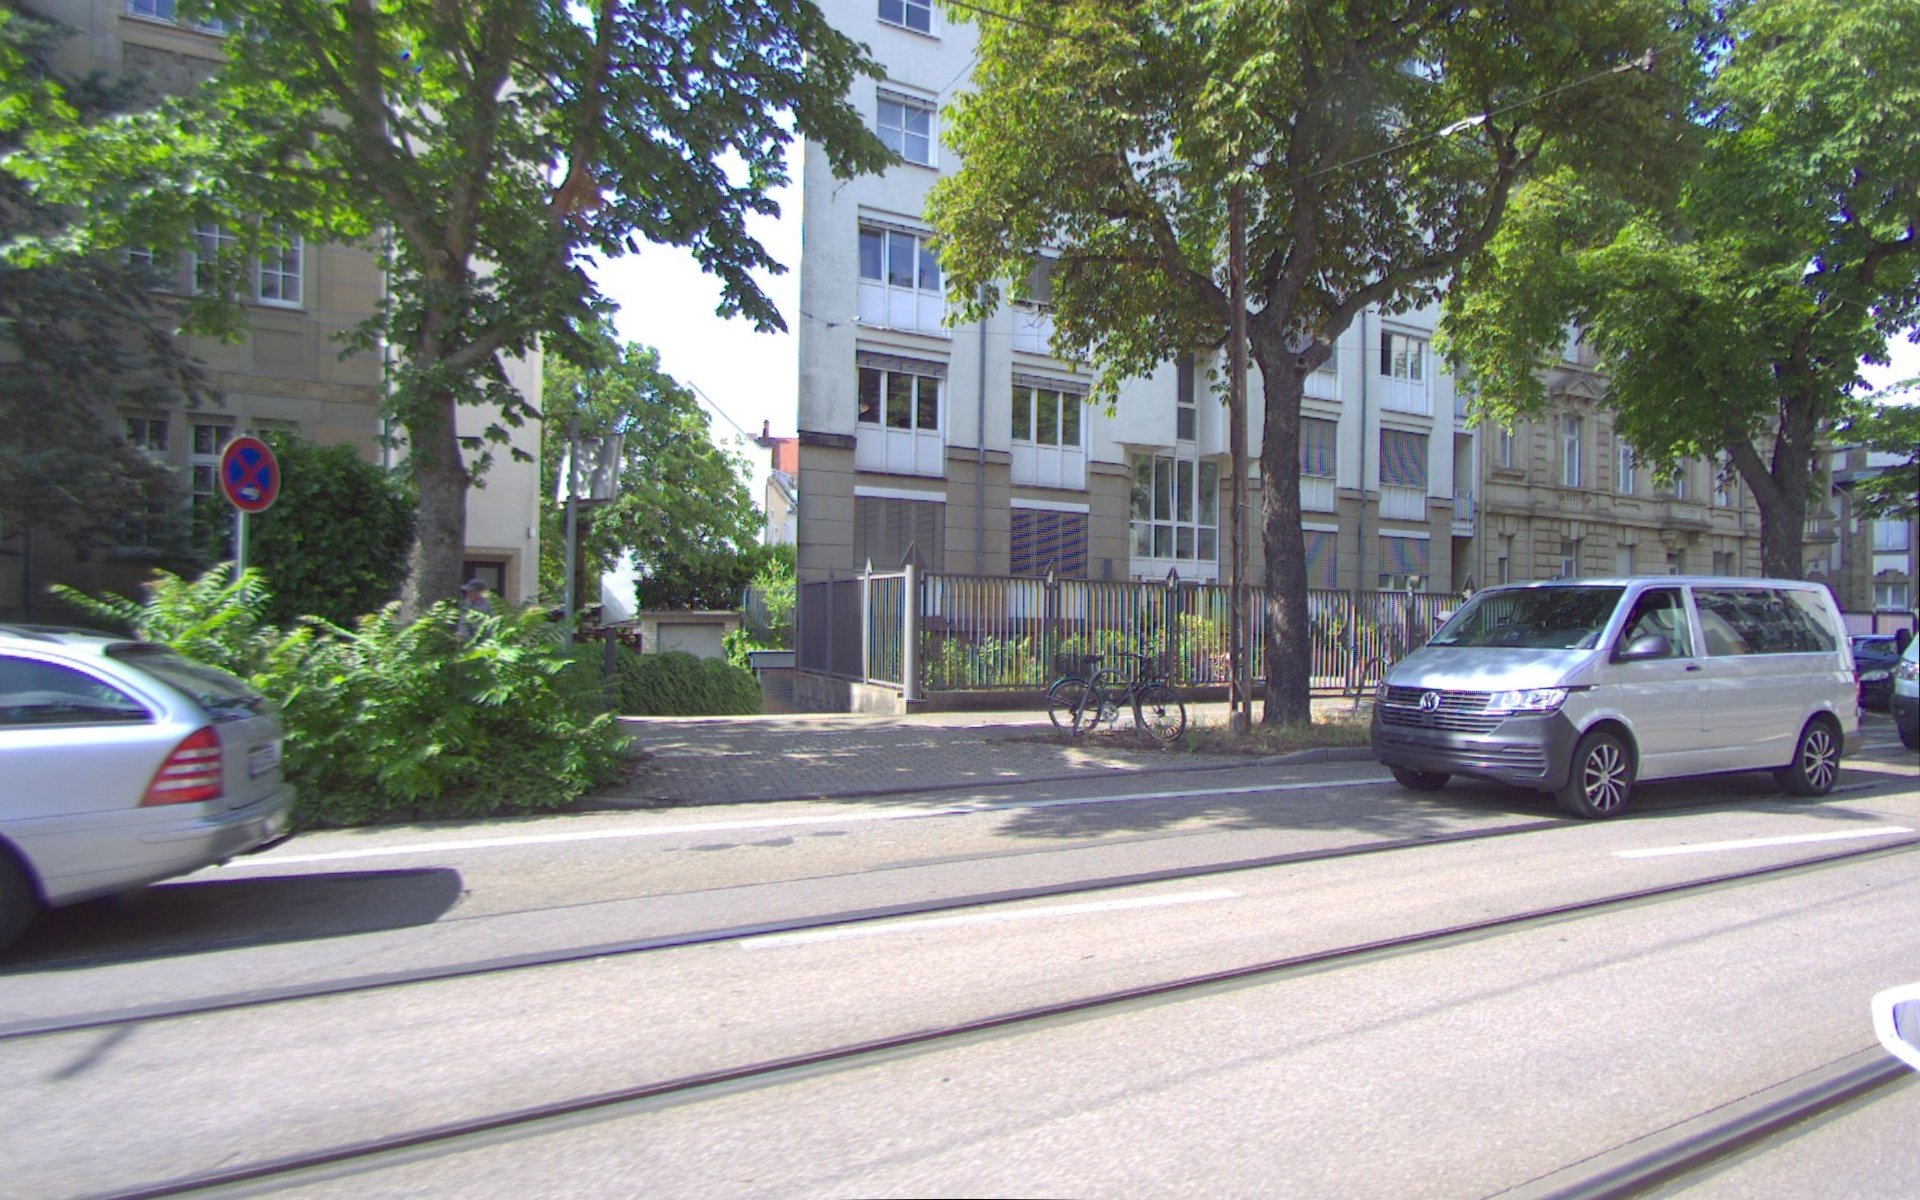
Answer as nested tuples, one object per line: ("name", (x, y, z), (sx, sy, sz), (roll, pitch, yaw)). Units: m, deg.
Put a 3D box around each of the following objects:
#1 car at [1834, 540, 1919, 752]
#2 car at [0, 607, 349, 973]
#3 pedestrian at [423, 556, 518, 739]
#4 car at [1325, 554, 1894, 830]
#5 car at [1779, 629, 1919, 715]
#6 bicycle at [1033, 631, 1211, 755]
("car", (14.412, 0.571, 13.165), (6.281, 2.541, 2.308), (0, 0, -27))
("car", (-5.377, 0.807, 4.399), (4.420, 1.500, 1.688), (0, -2, -25))
("pedestrian", (-5.644, 0.530, 11.601), (0.789, 2.040, 0.485), (2, 1, 6))
("car", (6.011, 0.726, 9.227), (5.108, 1.989, 1.981), (1, -1, -25))
("car", (18.615, 1.389, 20.281), (4.149, 1.492, 1.620), (0, 2, -26))
("bicycle", (1.973, 1.092, 12.284), (2.017, 1.326, 0.620), (2, 1, 22))
